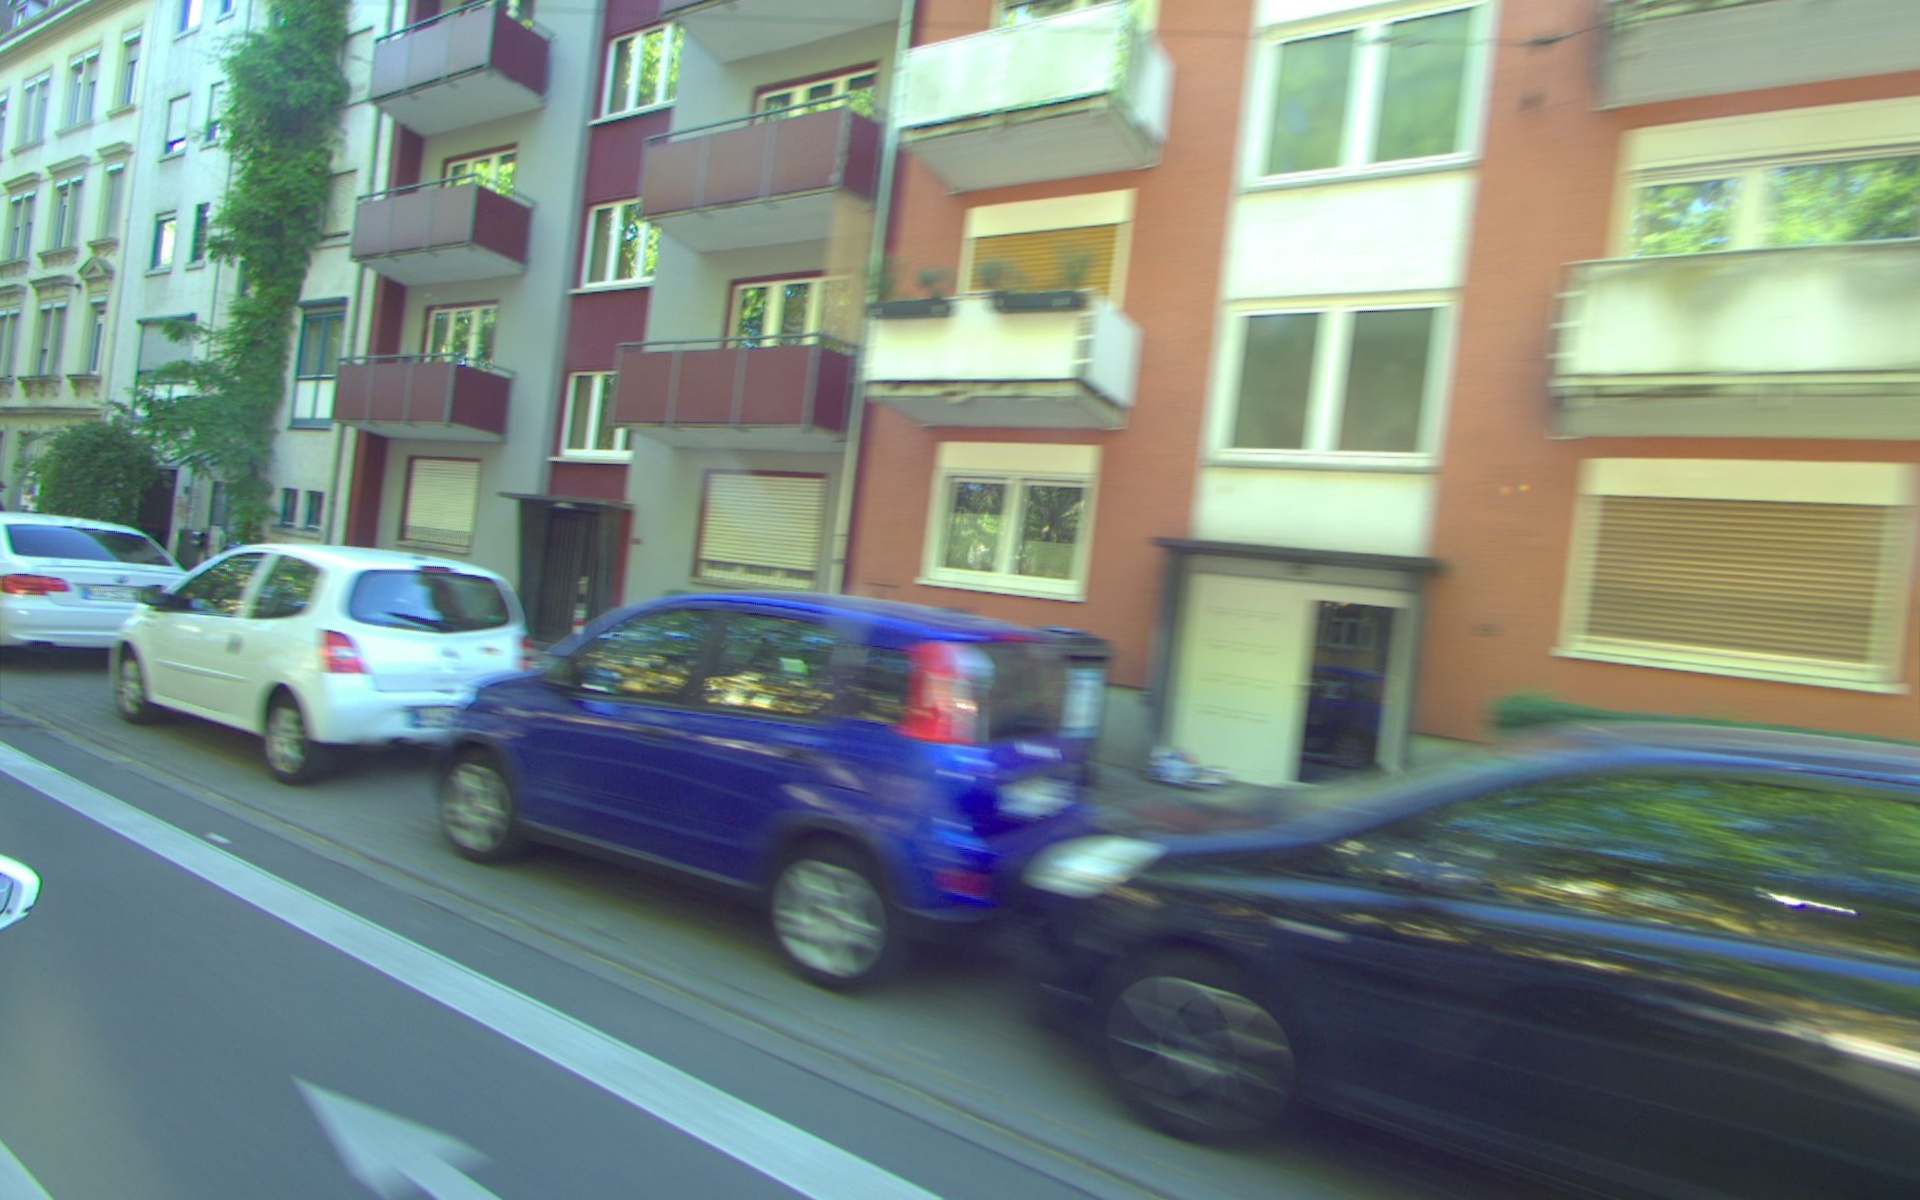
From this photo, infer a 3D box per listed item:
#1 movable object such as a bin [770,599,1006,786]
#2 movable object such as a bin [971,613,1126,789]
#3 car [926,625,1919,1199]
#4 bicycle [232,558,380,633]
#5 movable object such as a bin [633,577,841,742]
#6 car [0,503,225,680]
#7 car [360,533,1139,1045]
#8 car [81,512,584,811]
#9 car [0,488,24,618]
[{"bbox_3d":[-0.638,0.789,8.860,1.693,1.342,0.969,6,-2,32],"label":"movable object such as a bin"},{"bbox_3d":[0.793,0.875,8.740,0.762,1.342,1.155,6,-2,32],"label":"movable object such as a bin"},{"bbox_3d":[2.031,1.063,3.258,3.851,1.481,1.735,7,1,31],"label":"car"},{"bbox_3d":[-10.469,-0.052,16.170,0.469,1.042,1.893,7,1,36],"label":"bicycle"},{"bbox_3d":[-2.168,0.566,9.761,1.654,1.342,0.925,6,-2,32],"label":"movable object such as a bin"},{"bbox_3d":[-9.655,-0.224,10.349,4.661,1.417,1.661,7,1,31],"label":"car"},{"bbox_3d":[-1.180,0.685,5.170,3.689,1.608,1.530,6,-2,30],"label":"car"},{"bbox_3d":[-4.708,0.309,7.410,3.772,1.546,1.592,6,1,32],"label":"car"},{"bbox_3d":[-13.752,-0.801,12.883,3.529,1.600,1.661,7,0,32],"label":"car"}]
